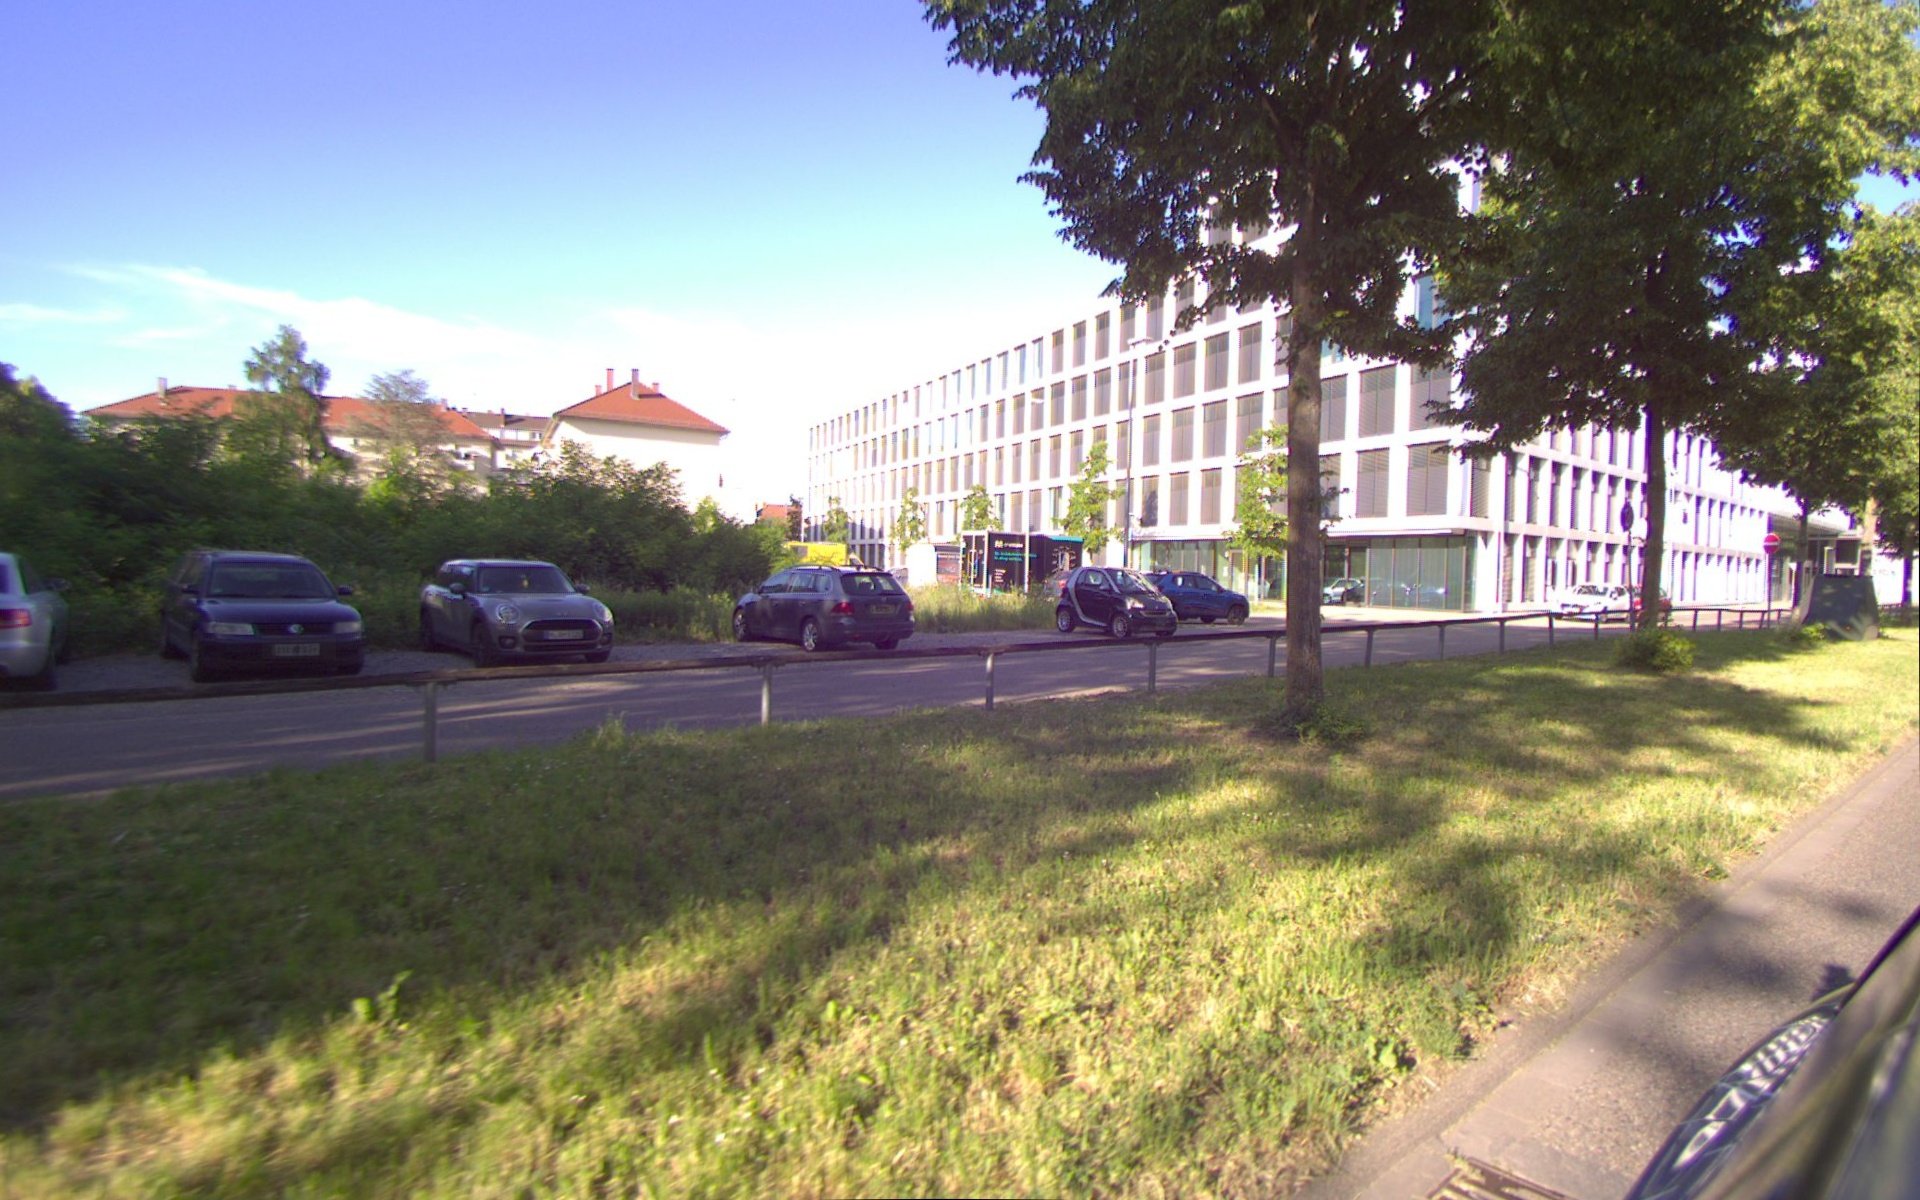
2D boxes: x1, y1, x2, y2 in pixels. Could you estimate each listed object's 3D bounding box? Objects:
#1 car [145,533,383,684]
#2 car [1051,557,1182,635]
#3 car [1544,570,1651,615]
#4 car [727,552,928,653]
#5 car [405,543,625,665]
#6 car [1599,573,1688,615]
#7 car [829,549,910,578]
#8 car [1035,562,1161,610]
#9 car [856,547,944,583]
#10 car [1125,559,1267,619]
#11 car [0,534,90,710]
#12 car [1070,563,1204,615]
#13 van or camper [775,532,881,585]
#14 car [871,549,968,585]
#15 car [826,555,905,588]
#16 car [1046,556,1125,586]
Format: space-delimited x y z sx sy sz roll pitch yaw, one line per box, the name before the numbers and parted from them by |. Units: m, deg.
car | -9.071 -0.005 13.024 1.875 1.496 4.335 1 4 -43
car | 3.454 -0.153 22.667 1.433 1.568 2.779 -1 4 -31
car | 24.248 -0.334 38.442 4.321 1.503 2.000 -1 5 -38
car | -2.482 -0.045 18.146 1.685 1.485 4.091 -1 4 -39
car | -6.713 -0.049 15.030 1.752 1.516 4.198 -1 3 -42
car | 27.928 -0.270 41.323 4.197 1.503 1.870 -1 5 -40
car | -4.825 -1.929 53.853 3.917 1.369 1.738 1 0 -25
car | 4.665 -0.492 34.228 3.868 1.559 1.727 -1 1 -22
car | -2.989 -1.704 50.707 3.917 1.638 2.004 1 0 -25
car | 6.928 -0.326 29.700 3.739 1.564 1.602 2 2 -21
car | -10.936 0.109 11.001 1.963 1.427 4.397 0 6 -37
car | 5.602 -0.376 32.085 3.800 1.555 1.756 -1 1 -22
van or camper | -7.585 -2.374 58.349 5.732 2.928 2.003 -1 1 -28
car | -1.903 -1.527 47.895 4.184 1.492 1.836 2 0 -25
car | -5.282 -1.586 56.427 3.918 1.749 2.004 0 2 -26
car | 6.951 -1.584 56.040 3.917 1.616 2.004 -1 1 -25
